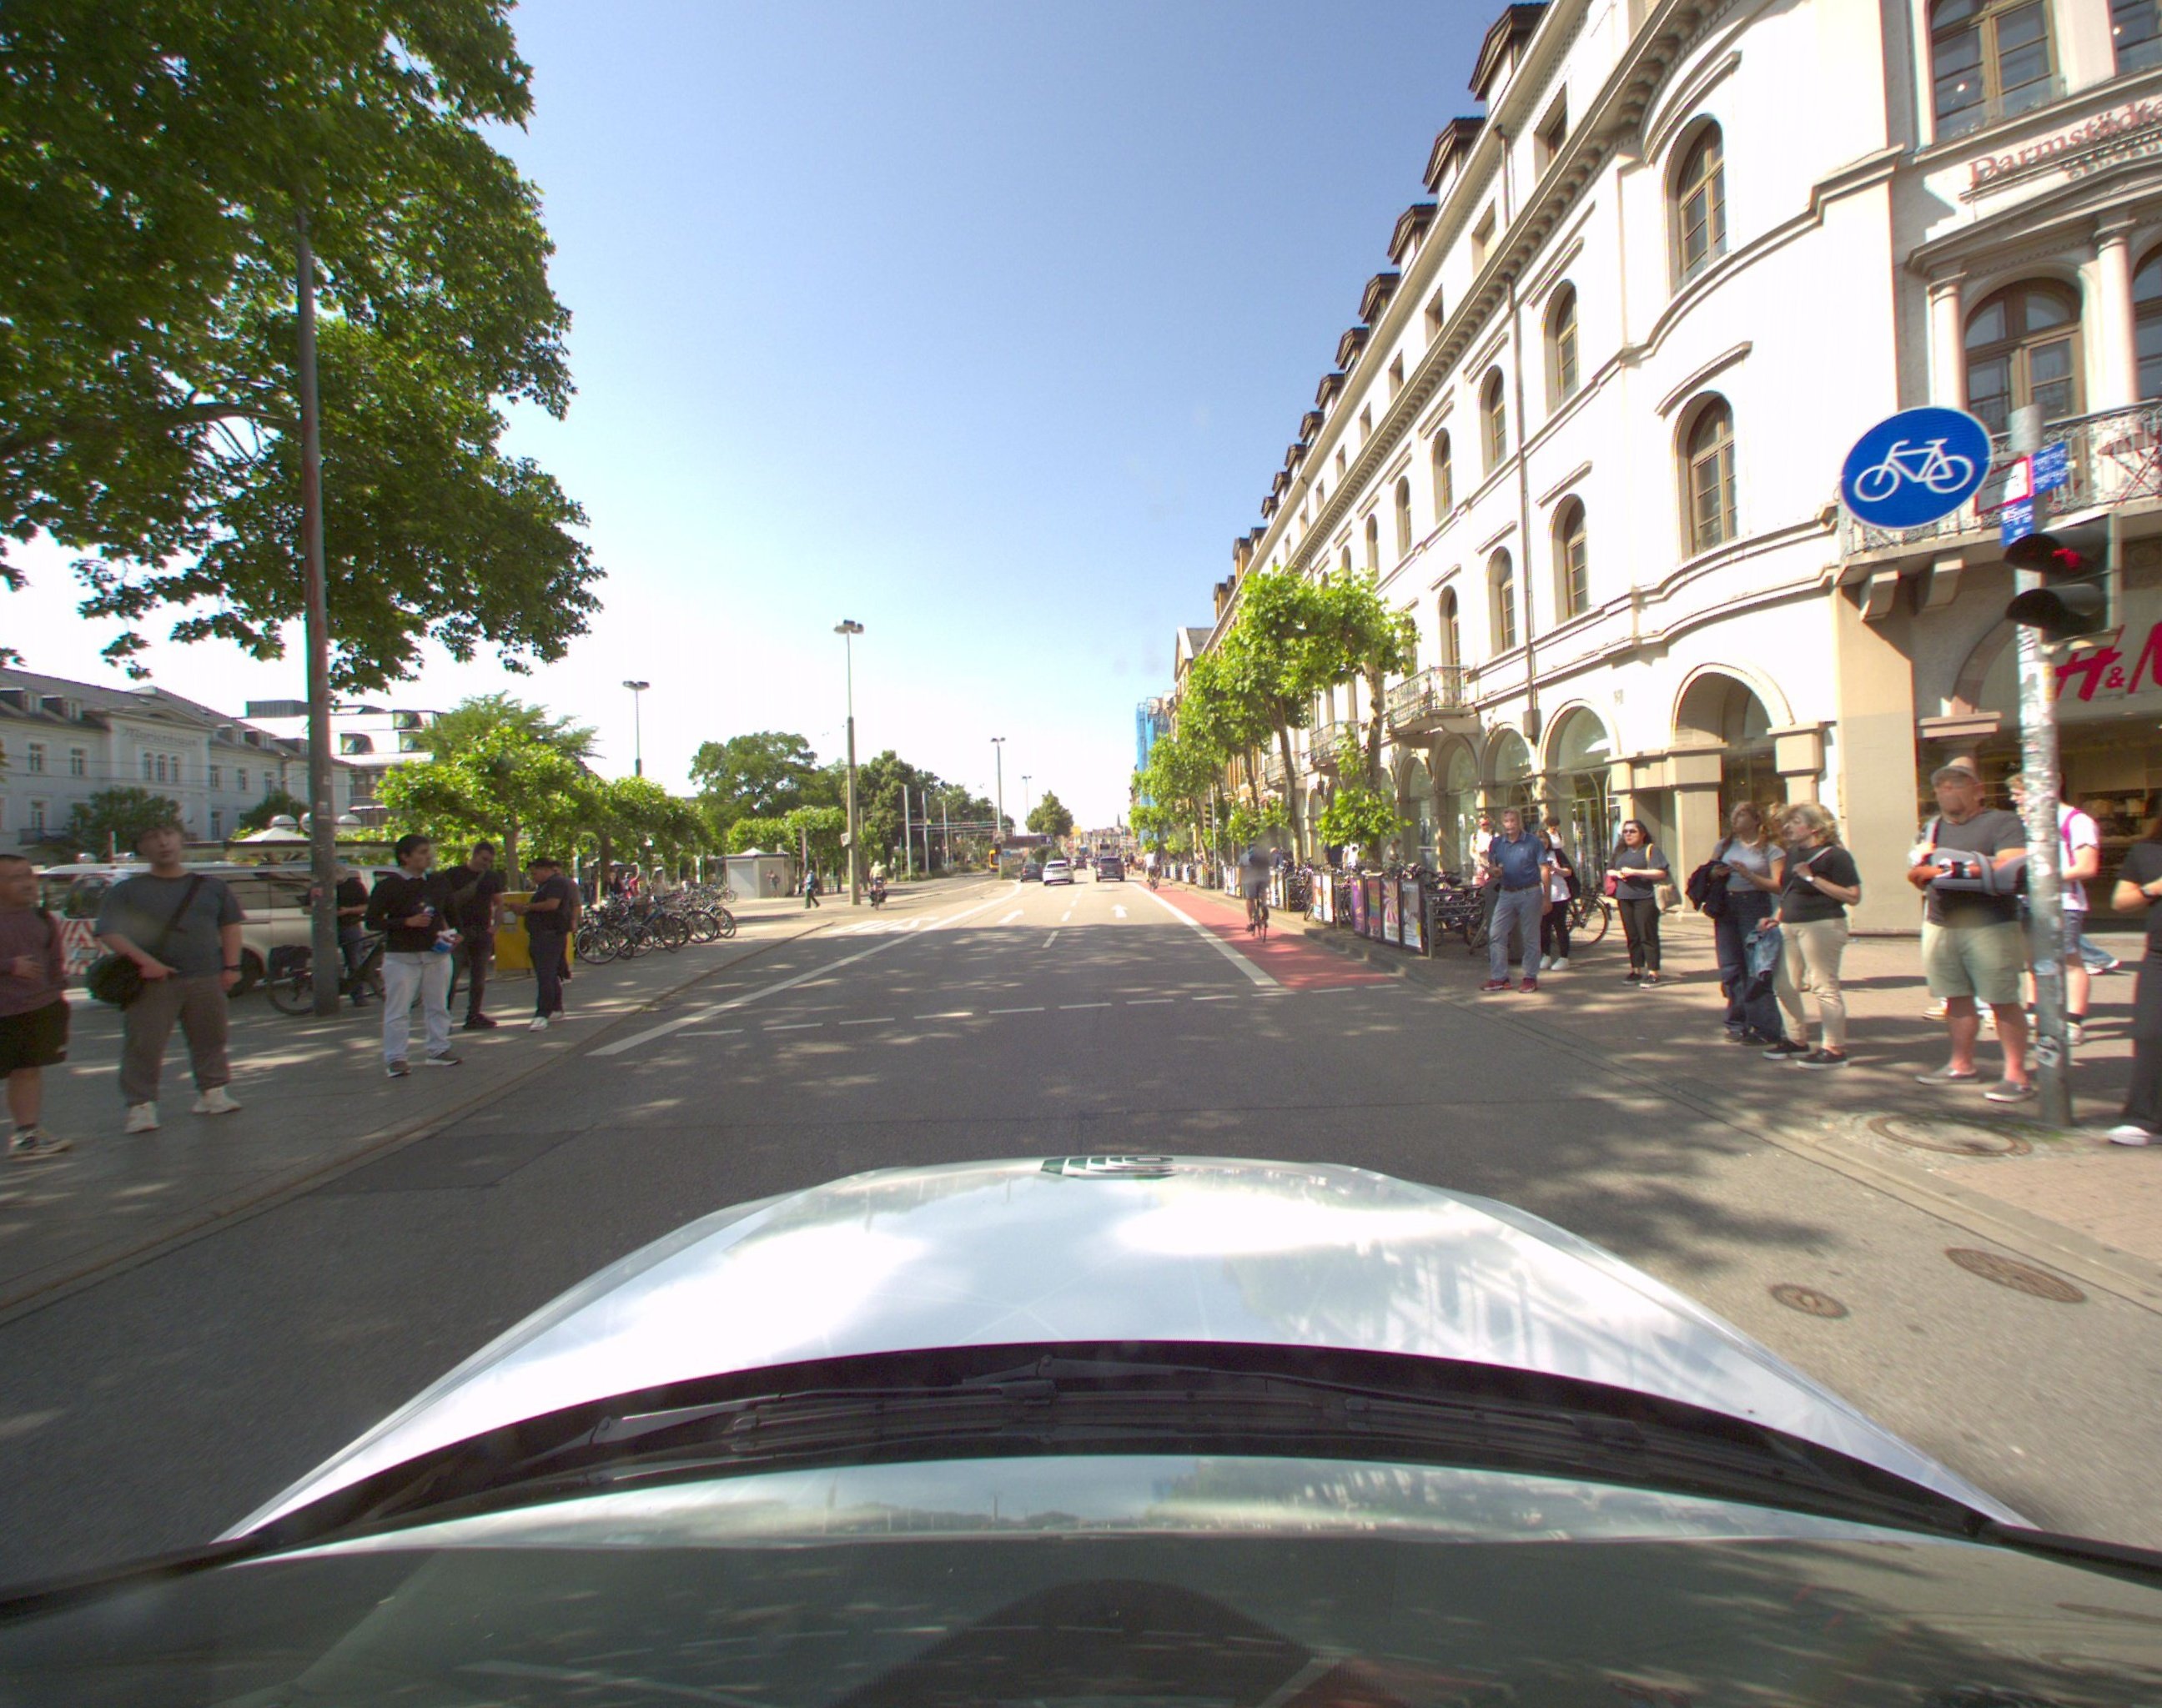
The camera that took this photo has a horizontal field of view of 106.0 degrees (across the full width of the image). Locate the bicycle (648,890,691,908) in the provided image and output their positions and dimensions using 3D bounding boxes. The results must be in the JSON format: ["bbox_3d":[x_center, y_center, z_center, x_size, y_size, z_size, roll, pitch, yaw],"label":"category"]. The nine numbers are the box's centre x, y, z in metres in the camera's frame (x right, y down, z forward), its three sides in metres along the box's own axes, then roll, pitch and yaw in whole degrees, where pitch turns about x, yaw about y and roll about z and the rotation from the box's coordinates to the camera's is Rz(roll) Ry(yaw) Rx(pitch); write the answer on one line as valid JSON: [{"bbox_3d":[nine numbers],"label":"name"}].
[{"bbox_3d":[-21.163,2.315,41.889,1.866,0.872,0.581,0,-1,-13],"label":"bicycle"}]

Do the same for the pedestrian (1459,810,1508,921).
[{"bbox_3d":[7.025,0.196,14.234,0.543,1.882,0.602,0,-1,-1],"label":"pedestrian"}]

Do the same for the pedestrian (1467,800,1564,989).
[{"bbox_3d":[4.437,0.396,8.350,0.575,1.846,0.717,0,-1,-2],"label":"pedestrian"}]

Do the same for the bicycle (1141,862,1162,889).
[{"bbox_3d":[3.009,0.894,34.830,0.732,1.093,1.897,0,-1,-1],"label":"bicycle"}]

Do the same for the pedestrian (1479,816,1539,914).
[{"bbox_3d":[7.783,0.198,14.834,0.672,1.740,0.753,0,-1,-1],"label":"pedestrian"}]

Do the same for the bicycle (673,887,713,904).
[{"bbox_3d":[-20.776,2.226,43.666,1.866,0.856,0.544,0,-1,-13],"label":"bicycle"}]

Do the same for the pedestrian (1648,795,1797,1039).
[{"bbox_3d":[4.671,0.438,5.966,0.575,1.684,0.621,0,-1,-3],"label":"pedestrian"}]

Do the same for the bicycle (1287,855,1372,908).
[{"bbox_3d":[5.711,0.631,18.754,1.748,1.147,0.592,-2,-1,-2],"label":"bicycle"}]

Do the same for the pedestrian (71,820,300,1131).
[{"bbox_3d":[-5.767,0.735,5.292,0.591,1.846,0.738,-3,-1,-1],"label":"pedestrian"}]

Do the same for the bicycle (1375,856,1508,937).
[{"bbox_3d":[5.496,0.633,12.460,1.748,1.147,0.592,-2,-1,-2],"label":"bicycle"}]

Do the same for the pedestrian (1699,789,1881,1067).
[{"bbox_3d":[4.619,0.460,5.343,0.566,1.684,0.590,-4,-1,-3],"label":"pedestrian"}]

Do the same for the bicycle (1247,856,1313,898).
[{"bbox_3d":[5.827,0.667,23.847,1.748,1.147,0.592,-2,-1,-2],"label":"bicycle"}]

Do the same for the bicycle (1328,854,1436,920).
[{"bbox_3d":[5.582,0.607,15.146,1.748,1.147,0.592,-2,-1,-2],"label":"bicycle"}]

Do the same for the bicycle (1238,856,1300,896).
[{"bbox_3d":[5.796,0.675,25.127,1.748,1.147,0.482,-2,-1,-2],"label":"bicycle"}]

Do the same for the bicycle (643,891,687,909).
[{"bbox_3d":[-21.088,2.335,41.305,1.866,0.856,0.544,0,-1,-13],"label":"bicycle"}]

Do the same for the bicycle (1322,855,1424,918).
[{"bbox_3d":[5.673,0.618,15.871,1.748,1.147,0.592,-2,-1,-2],"label":"bicycle"}]

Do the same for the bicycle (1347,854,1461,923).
[{"bbox_3d":[5.696,0.597,14.393,1.748,1.147,0.592,-2,-1,-2],"label":"bicycle"}]

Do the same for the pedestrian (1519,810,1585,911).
[{"bbox_3d":[8.563,0.115,14.835,0.717,1.782,0.776,0,-1,-1],"label":"pedestrian"}]

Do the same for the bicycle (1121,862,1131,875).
[{"bbox_3d":[3.746,1.177,67.199,0.731,1.093,1.897,0,-1,0],"label":"bicycle"}]

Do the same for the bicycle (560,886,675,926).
[{"bbox_3d":[-12.473,1.386,21.975,2.609,1.023,0.831,0,-1,0],"label":"bicycle"}]

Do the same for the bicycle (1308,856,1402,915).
[{"bbox_3d":[5.740,0.651,17.110,1.748,1.147,0.598,-2,-1,-2],"label":"bicycle"}]

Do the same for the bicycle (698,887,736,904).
[{"bbox_3d":[-20.483,2.327,45.847,1.866,0.869,0.579,0,-1,-13],"label":"bicycle"}]

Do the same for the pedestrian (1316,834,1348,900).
[{"bbox_3d":[7.352,0.377,23.884,0.698,1.902,0.776,0,-1,-1],"label":"pedestrian"}]

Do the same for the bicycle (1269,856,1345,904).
[{"bbox_3d":[5.761,0.644,20.791,1.748,1.147,0.592,-2,-1,-2],"label":"bicycle"}]

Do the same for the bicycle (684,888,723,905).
[{"bbox_3d":[-20.776,2.321,44.813,1.866,0.869,0.579,0,-1,-13],"label":"bicycle"}]

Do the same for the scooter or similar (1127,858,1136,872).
[{"bbox_3d":[4.316,0.965,69.732,0.686,1.167,1.464,0,-1,1],"label":"scooter or similar"}]

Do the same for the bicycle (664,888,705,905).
[{"bbox_3d":[-20.871,2.232,42.902,1.866,0.856,0.544,0,-1,-13],"label":"bicycle"}]

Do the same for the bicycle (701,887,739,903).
[{"bbox_3d":[-20.588,2.333,46.447,1.866,0.869,0.579,0,-1,-13],"label":"bicycle"}]

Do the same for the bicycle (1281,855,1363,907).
[{"bbox_3d":[5.731,0.634,19.386,1.748,1.147,0.592,-2,-1,-2],"label":"bicycle"}]

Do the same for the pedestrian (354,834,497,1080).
[{"bbox_3d":[-5.111,0.748,6.370,0.531,1.783,0.748,-1,-1,35],"label":"pedestrian"}]

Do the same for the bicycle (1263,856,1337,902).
[{"bbox_3d":[5.782,0.650,21.555,1.748,1.147,0.592,-2,-1,-2],"label":"bicycle"}]

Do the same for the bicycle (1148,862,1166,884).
[{"bbox_3d":[3.902,0.976,42.013,0.732,1.093,1.910,0,-1,-1],"label":"bicycle"}]

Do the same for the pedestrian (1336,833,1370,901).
[{"bbox_3d":[7.308,0.356,21.897,0.631,1.793,0.776,0,-1,-1],"label":"pedestrian"}]

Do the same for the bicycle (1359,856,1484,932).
[{"bbox_3d":[5.486,0.636,13.165,1.748,1.147,0.592,-2,-1,-2],"label":"bicycle"}]

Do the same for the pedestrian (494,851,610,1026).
[{"bbox_3d":[-5.286,0.797,8.156,0.623,1.648,0.756,-1,-1,26],"label":"pedestrian"}]

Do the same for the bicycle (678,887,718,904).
[{"bbox_3d":[-20.792,2.260,44.245,1.866,0.856,0.544,0,-1,-13],"label":"bicycle"}]

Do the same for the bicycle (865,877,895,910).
[{"bbox_3d":[-7.544,1.480,30.703,0.817,1.120,1.869,-5,-1,-8],"label":"bicycle"}]

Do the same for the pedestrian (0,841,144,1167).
[{"bbox_3d":[-5.970,0.805,4.596,0.601,1.715,0.606,-3,-1,-1],"label":"pedestrian"}]

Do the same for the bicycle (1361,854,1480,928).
[{"bbox_3d":[5.727,0.613,13.792,1.748,1.158,0.592,-2,-1,-2],"label":"bicycle"}]

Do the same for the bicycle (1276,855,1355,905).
[{"bbox_3d":[5.762,0.639,20.062,1.748,1.147,0.592,-2,-1,-2],"label":"bicycle"}]

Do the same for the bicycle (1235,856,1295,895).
[{"bbox_3d":[5.805,0.679,25.658,1.748,1.147,0.482,-2,-1,-2],"label":"bicycle"}]

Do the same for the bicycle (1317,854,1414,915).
[{"bbox_3d":[5.750,0.614,16.498,1.748,1.147,0.518,-2,-1,-2],"label":"bicycle"}]

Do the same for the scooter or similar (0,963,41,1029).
[{"bbox_3d":[-12.075,1.584,8.920,0.573,0.647,0.790,-1,-1,33],"label":"scooter or similar"}]

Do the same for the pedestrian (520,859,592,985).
[{"bbox_3d":[-7.279,0.914,11.321,0.642,1.691,0.640,0,-1,-13],"label":"pedestrian"}]

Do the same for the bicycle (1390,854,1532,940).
[{"bbox_3d":[5.473,0.605,11.772,1.748,1.147,0.592,-2,-1,-2],"label":"bicycle"}]

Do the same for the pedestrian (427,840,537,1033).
[{"bbox_3d":[-5.948,0.785,8.114,0.513,1.836,0.717,-1,-1,8],"label":"pedestrian"}]

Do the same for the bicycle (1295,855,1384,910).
[{"bbox_3d":[5.708,0.625,18.053,1.748,1.147,0.592,-2,-1,-2],"label":"bicycle"}]

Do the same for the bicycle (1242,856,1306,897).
[{"bbox_3d":[5.816,0.672,24.542,1.748,1.147,0.592,-2,-1,-2],"label":"bicycle"}]

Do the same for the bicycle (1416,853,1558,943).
[{"bbox_3d":[5.543,0.592,11.160,1.651,1.147,0.522,-2,-1,-2],"label":"bicycle"}]
